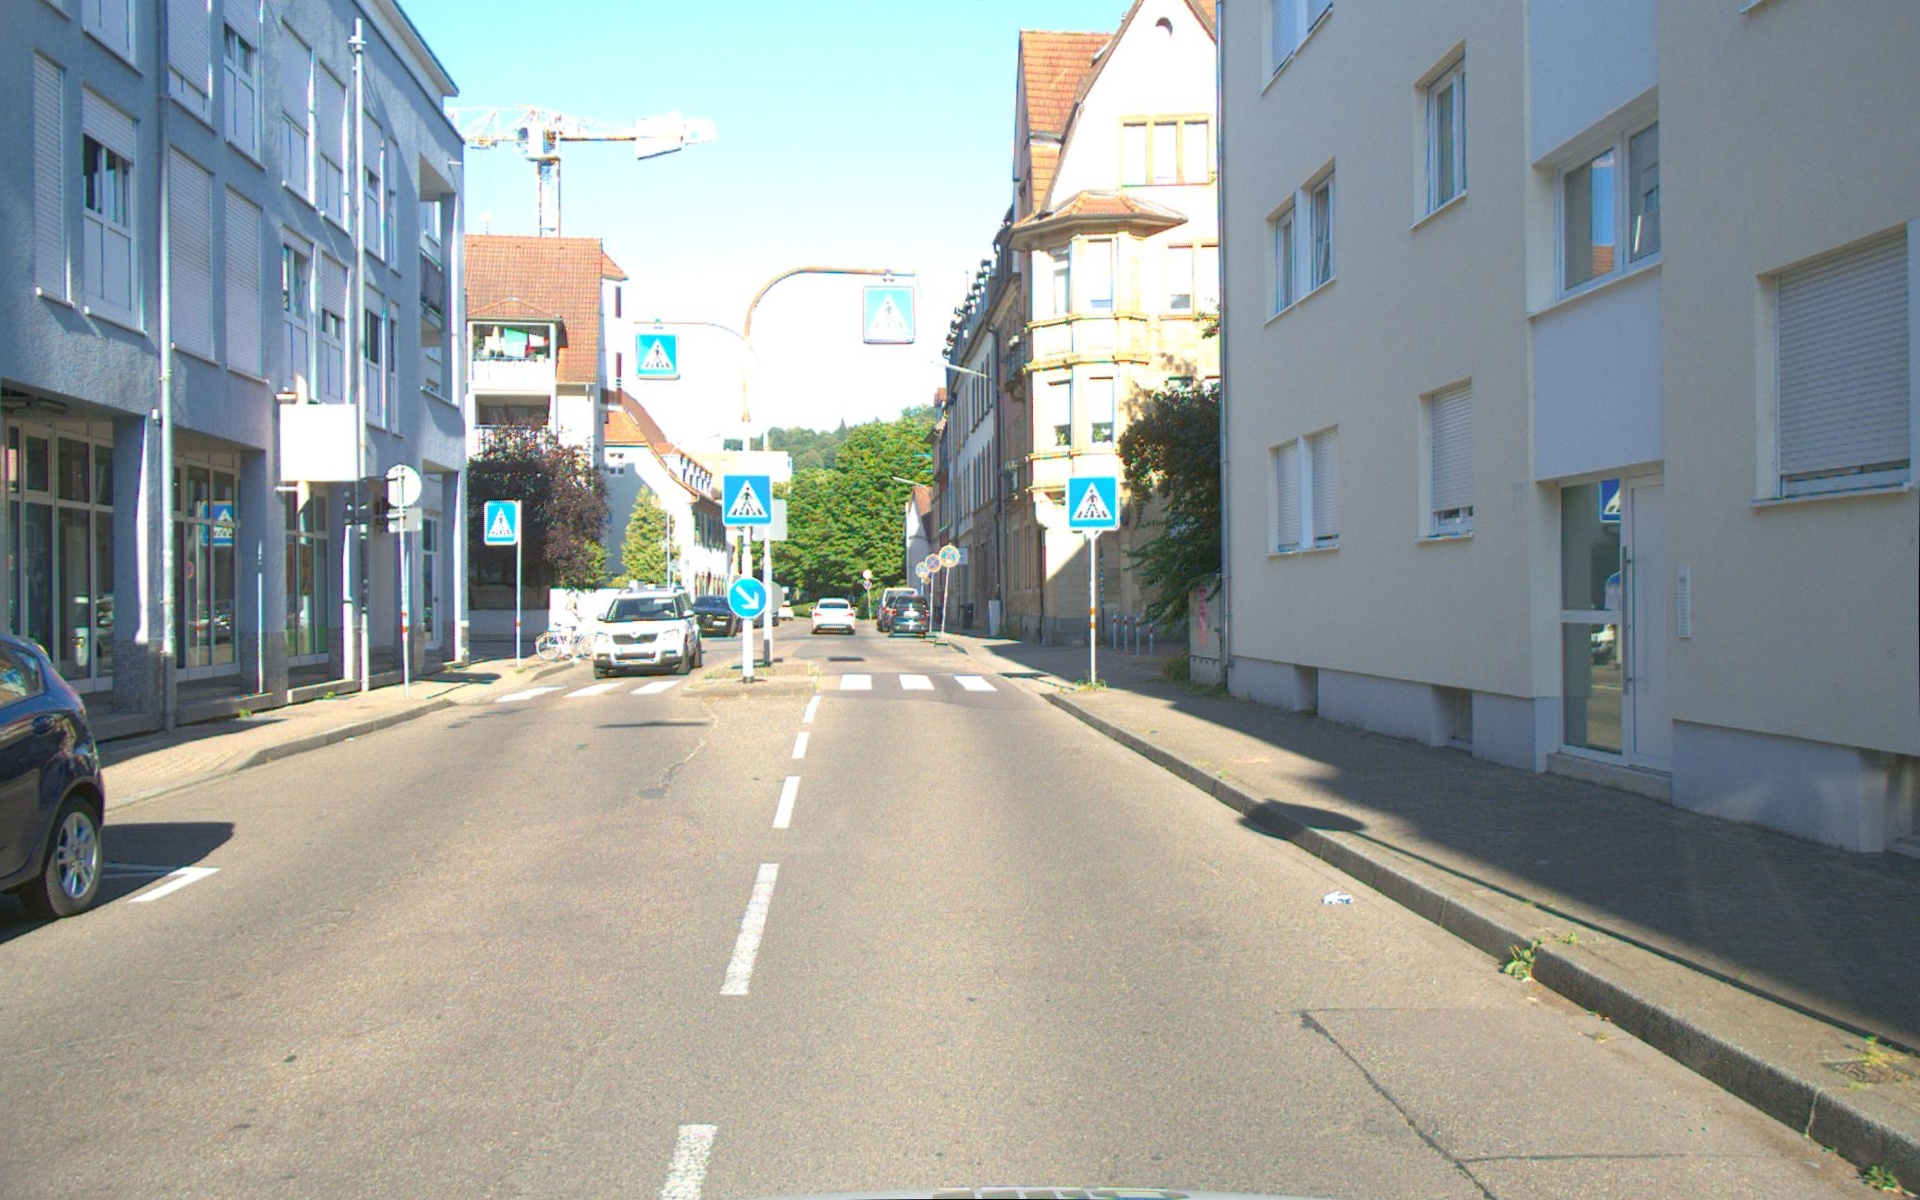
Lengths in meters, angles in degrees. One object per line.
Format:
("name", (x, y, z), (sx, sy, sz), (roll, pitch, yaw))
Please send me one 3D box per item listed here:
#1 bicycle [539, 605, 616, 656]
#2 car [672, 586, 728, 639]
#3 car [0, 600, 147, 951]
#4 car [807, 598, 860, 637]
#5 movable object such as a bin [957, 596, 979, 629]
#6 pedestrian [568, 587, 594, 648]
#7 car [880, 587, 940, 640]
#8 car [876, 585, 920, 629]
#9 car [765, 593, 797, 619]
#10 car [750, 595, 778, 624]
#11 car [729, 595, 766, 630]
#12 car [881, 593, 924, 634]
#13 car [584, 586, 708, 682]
("bicycle", (-9.447, 0.749, 40.873), (1.751, 1.205, 0.598), (-1, 0, -4))
("car", (-10.268, 0.464, 65.527), (1.955, 2.049, 3.995), (-1, 0, -6))
("car", (-5.007, 0.784, 6.658), (1.697, 1.525, 3.956), (-2, 0, -4))
("car", (-5.145, 0.686, 66.973), (1.956, 1.492, 3.994), (-1, 0, -7))
("movable object such as a bin", (0.350, 0.556, 72.648), (0.855, 1.401, 0.684), (-3, 1, -8))
("pedestrian", (-9.458, 0.423, 41.326), (0.546, 1.498, 0.600), (-1, 0, -8))
("car", (-1.908, 0.474, 61.657), (1.972, 1.885, 3.995), (0, 1, -6))
("car", (-2.947, 0.316, 77.897), (1.805, 1.939, 3.996), (-2, 1, -5))
("car", (-14.747, 0.478, 135.984), (1.961, 2.049, 3.984), (-1, 0, -15))
("car", (-12.017, 0.544, 101.599), (1.599, 1.659, 3.171), (-2, 1, -5))
("car", (-11.855, 0.665, 92.520), (1.873, 1.790, 4.124), (-2, 1, -5))
("car", (-2.546, 0.582, 72.997), (1.782, 1.659, 3.999), (-2, 1, -2))
("car", (-6.174, 0.616, 32.988), (1.771, 1.731, 4.190), (-2, 1, -2))
